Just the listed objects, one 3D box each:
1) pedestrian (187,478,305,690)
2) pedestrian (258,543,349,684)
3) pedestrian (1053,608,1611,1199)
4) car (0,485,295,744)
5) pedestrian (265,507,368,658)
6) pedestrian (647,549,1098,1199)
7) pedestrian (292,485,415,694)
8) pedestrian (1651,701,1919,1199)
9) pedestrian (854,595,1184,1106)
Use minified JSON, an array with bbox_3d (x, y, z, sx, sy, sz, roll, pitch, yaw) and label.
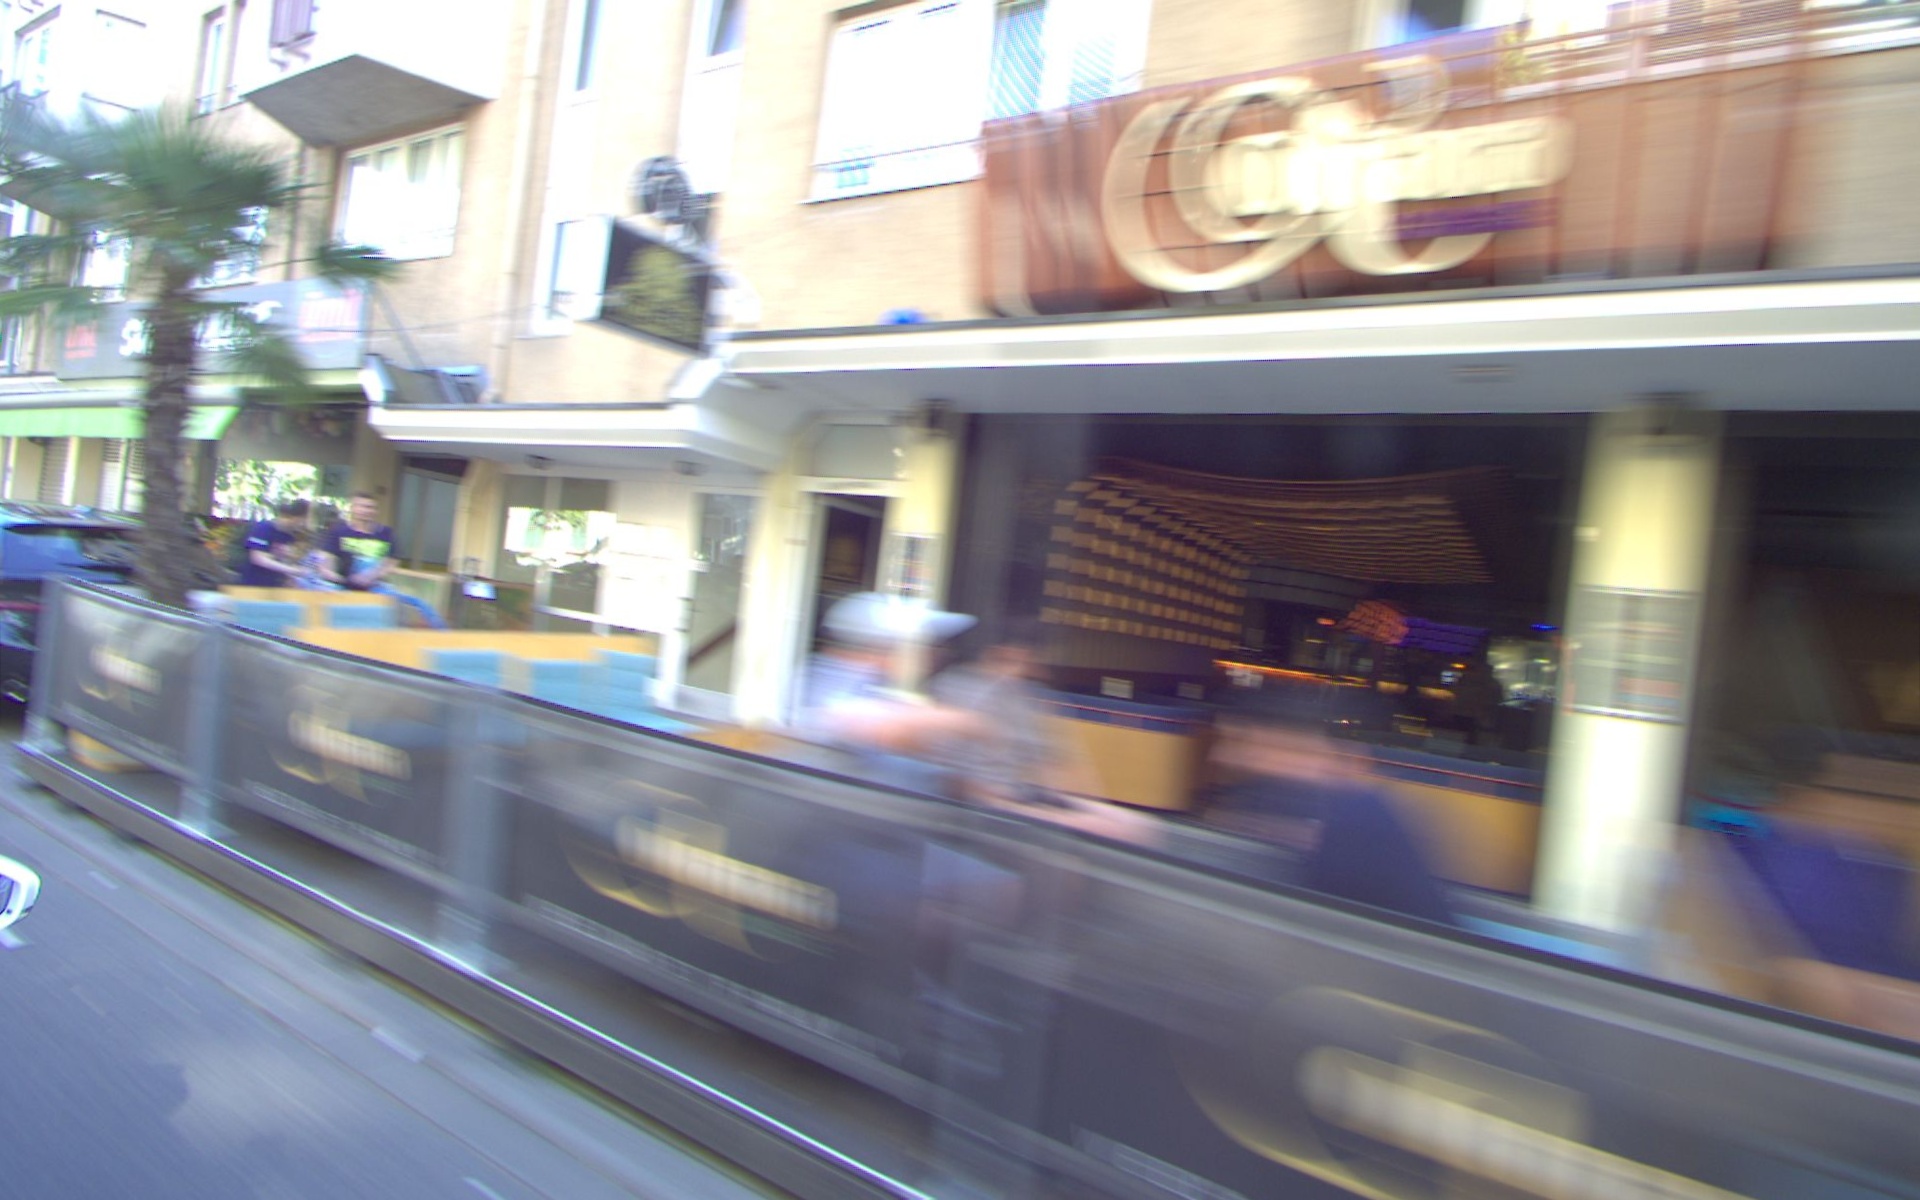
[{"bbox_3d":[-6.170,-0.137,8.684,0.614,1.717,0.753,6,1,-43],"label":"pedestrian"},{"bbox_3d":[-5.862,0.116,8.998,0.437,1.177,0.499,6,1,-14],"label":"pedestrian"},{"bbox_3d":[0.817,0.856,2.273,0.747,1.556,0.797,6,1,-44],"label":"pedestrian"},{"bbox_3d":[-7.351,-0.108,7.765,4.830,1.491,1.822,7,2,32],"label":"car"},{"bbox_3d":[-7.551,-0.196,11.813,0.749,1.662,0.617,7,1,31],"label":"pedestrian"},{"bbox_3d":[-0.251,0.697,2.955,0.963,1.556,0.651,7,1,30],"label":"pedestrian"},{"bbox_3d":[-5.303,-0.089,8.826,0.619,1.717,0.503,6,1,-5],"label":"pedestrian"},{"bbox_3d":[1.986,1.044,2.098,0.764,1.556,0.693,7,1,33],"label":"pedestrian"},{"bbox_3d":[0.207,0.817,3.664,0.709,1.556,0.760,6,1,-44],"label":"pedestrian"}]
